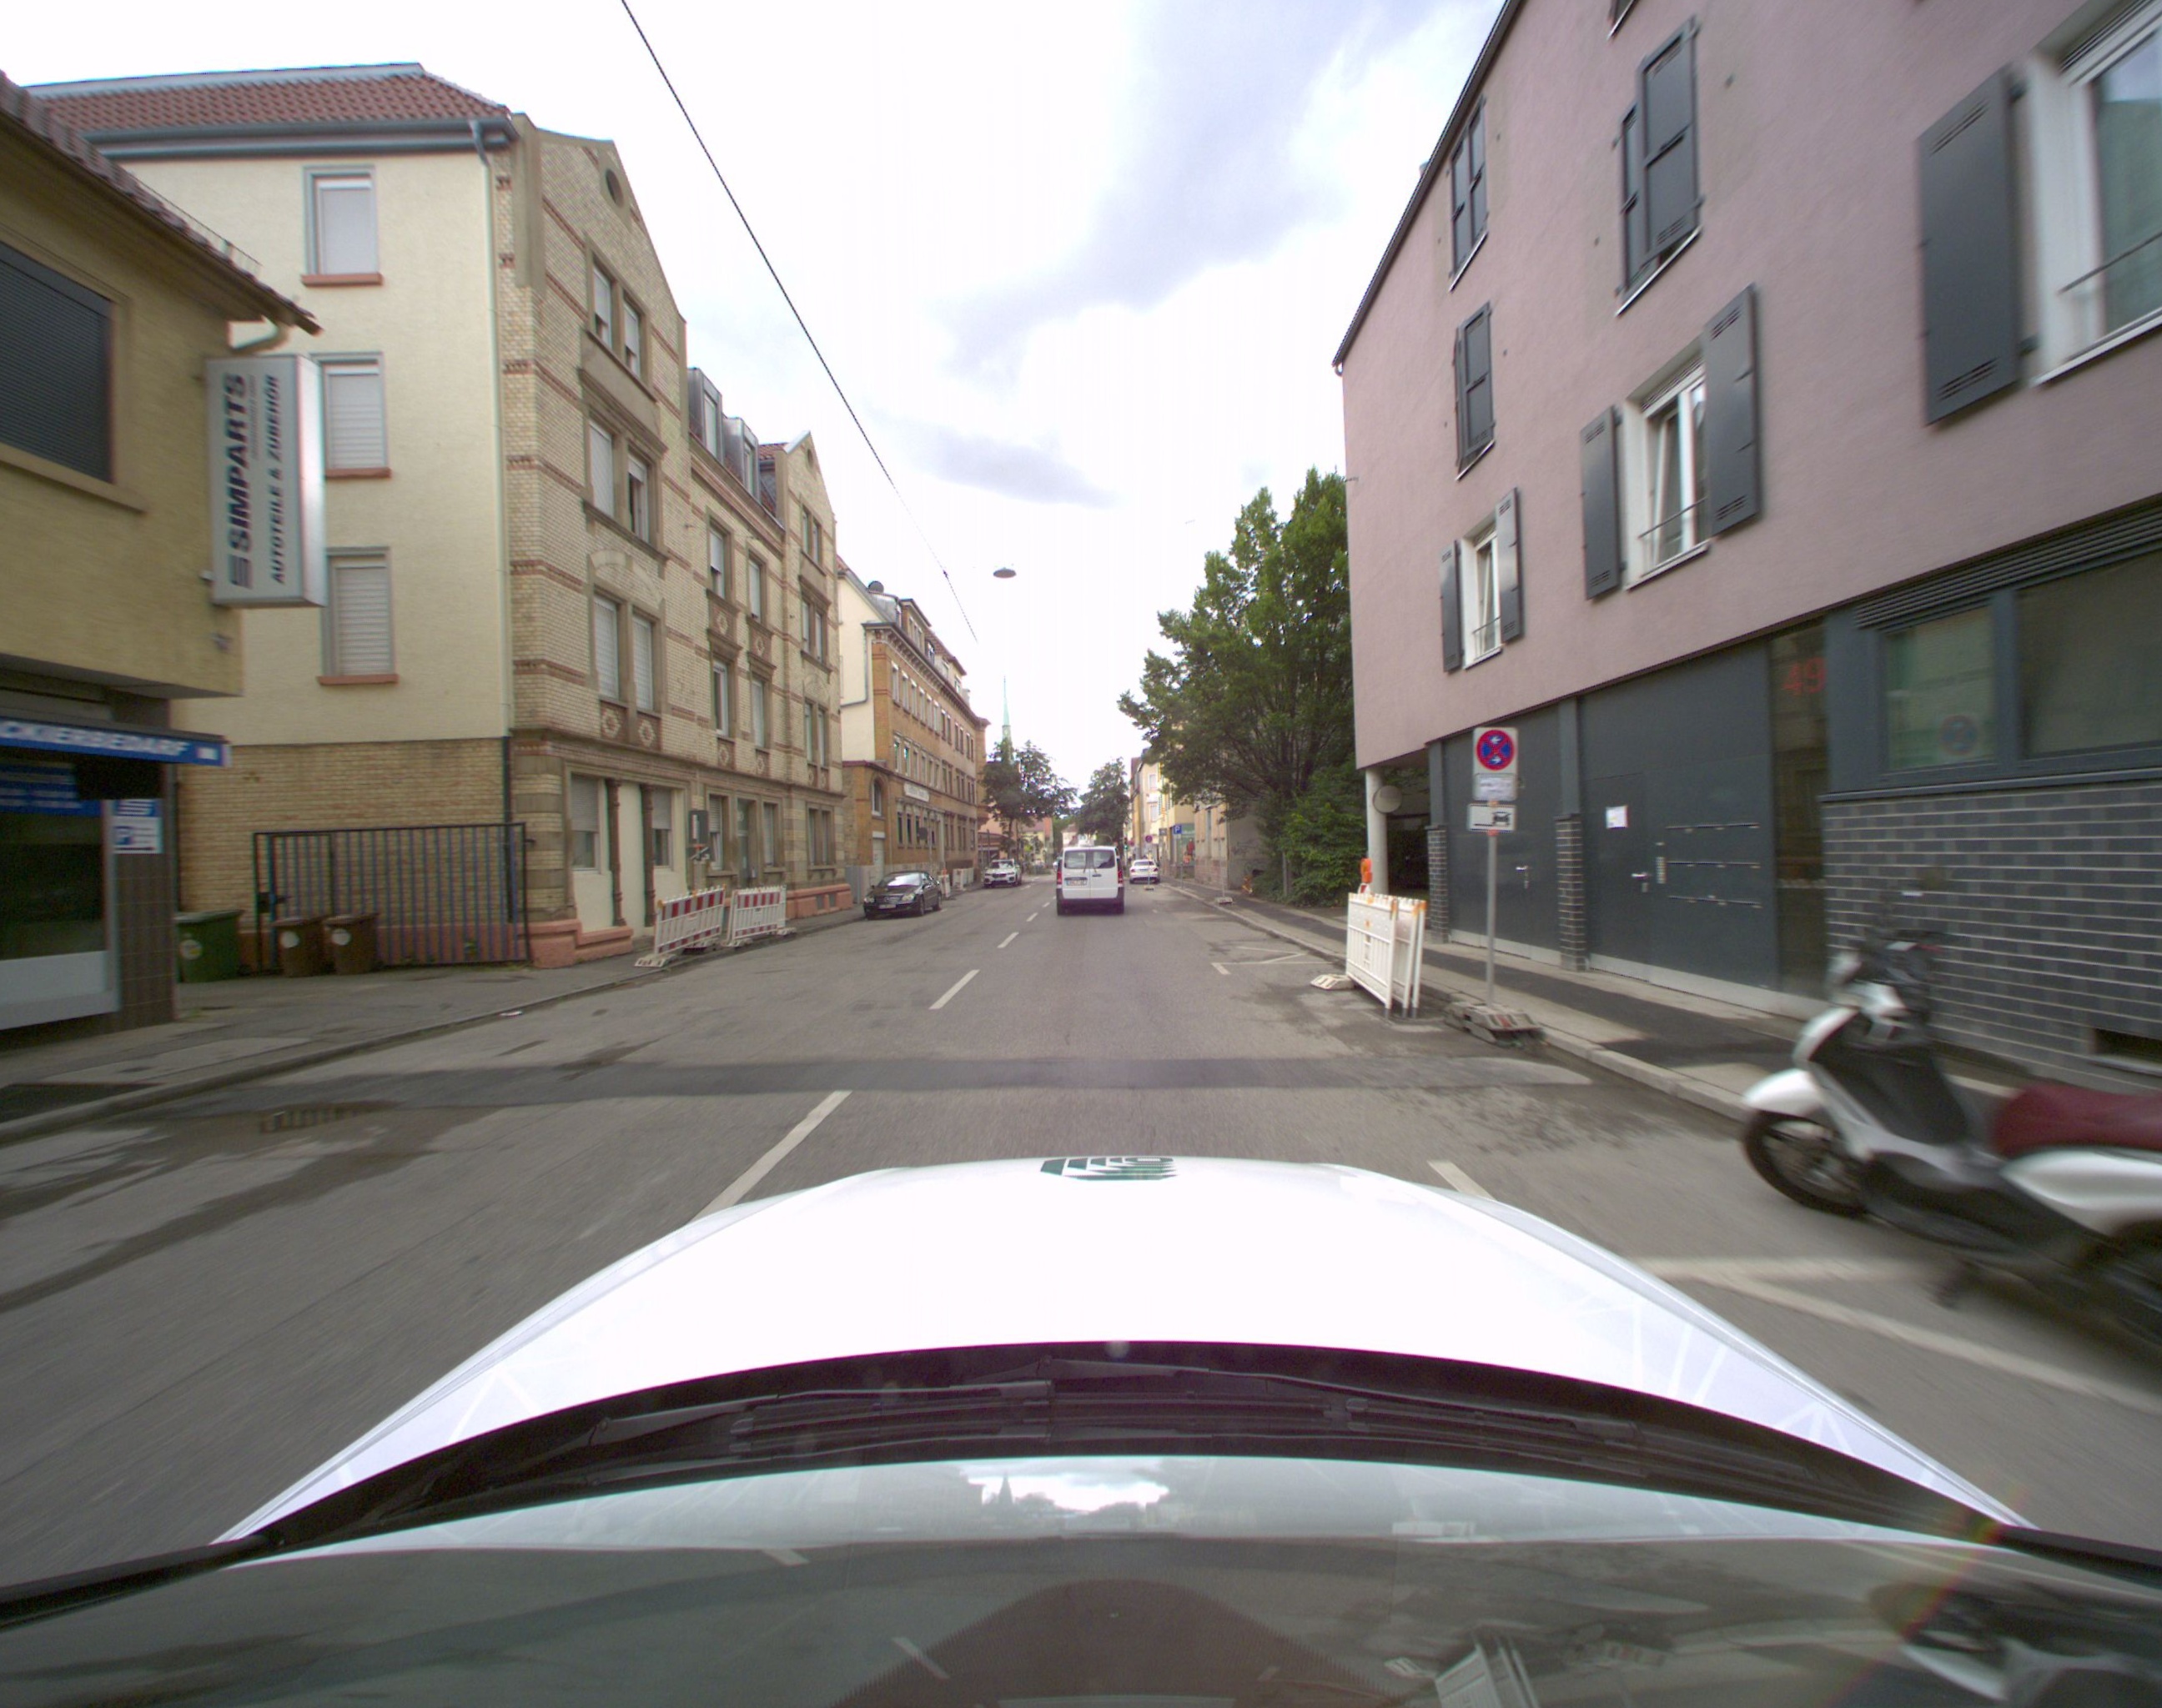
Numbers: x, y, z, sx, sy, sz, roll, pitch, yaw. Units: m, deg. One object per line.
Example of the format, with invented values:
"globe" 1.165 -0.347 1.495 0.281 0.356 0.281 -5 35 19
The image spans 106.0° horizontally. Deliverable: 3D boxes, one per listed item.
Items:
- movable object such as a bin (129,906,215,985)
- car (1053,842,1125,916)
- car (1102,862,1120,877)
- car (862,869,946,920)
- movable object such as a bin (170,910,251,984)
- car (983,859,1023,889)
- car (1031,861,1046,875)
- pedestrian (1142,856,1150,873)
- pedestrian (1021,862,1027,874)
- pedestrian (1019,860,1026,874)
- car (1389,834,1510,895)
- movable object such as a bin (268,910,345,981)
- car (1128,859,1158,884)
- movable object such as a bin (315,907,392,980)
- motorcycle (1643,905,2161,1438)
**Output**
"movable object such as a bin" -14.130 1.407 12.670 0.584 1.156 0.662 -1 -1 3
"car" 0.225 0.687 23.651 1.866 1.912 3.999 -2 -1 0
"car" 3.698 1.904 99.894 1.815 1.781 4.399 -1 -1 -2
"car" -5.583 1.230 26.211 1.573 1.383 4.355 -3 -1 1
"movable object such as a bin" -13.521 1.433 12.669 0.586 1.073 0.613 -1 -1 3
"car" -4.816 1.221 51.162 1.884 1.712 4.741 -4 -1 1
"car" -5.409 1.767 105.264 1.698 1.574 4.448 -4 0 -1
"pedestrian" 6.395 1.073 80.245 0.613 1.653 0.982 0 -1 -1
"pedestrian" -7.084 1.728 100.944 0.736 1.535 0.982 -1 -1 -2
"pedestrian" -7.057 1.593 98.159 0.737 1.718 1.155 -1 -1 -3
"car" 11.111 0.282 24.863 1.632 1.585 3.995 -4 0 -3
"movable object such as a bin" -12.024 1.409 12.652 0.590 1.035 0.613 -1 -1 3
"car" 3.850 1.060 51.215 1.760 1.466 4.787 -1 0 4
"movable object such as a bin" -11.335 1.381 12.699 0.590 1.035 0.613 -3 -1 3
"motorcycle" 3.032 0.852 2.770 0.644 1.226 2.337 -1 -1 1
